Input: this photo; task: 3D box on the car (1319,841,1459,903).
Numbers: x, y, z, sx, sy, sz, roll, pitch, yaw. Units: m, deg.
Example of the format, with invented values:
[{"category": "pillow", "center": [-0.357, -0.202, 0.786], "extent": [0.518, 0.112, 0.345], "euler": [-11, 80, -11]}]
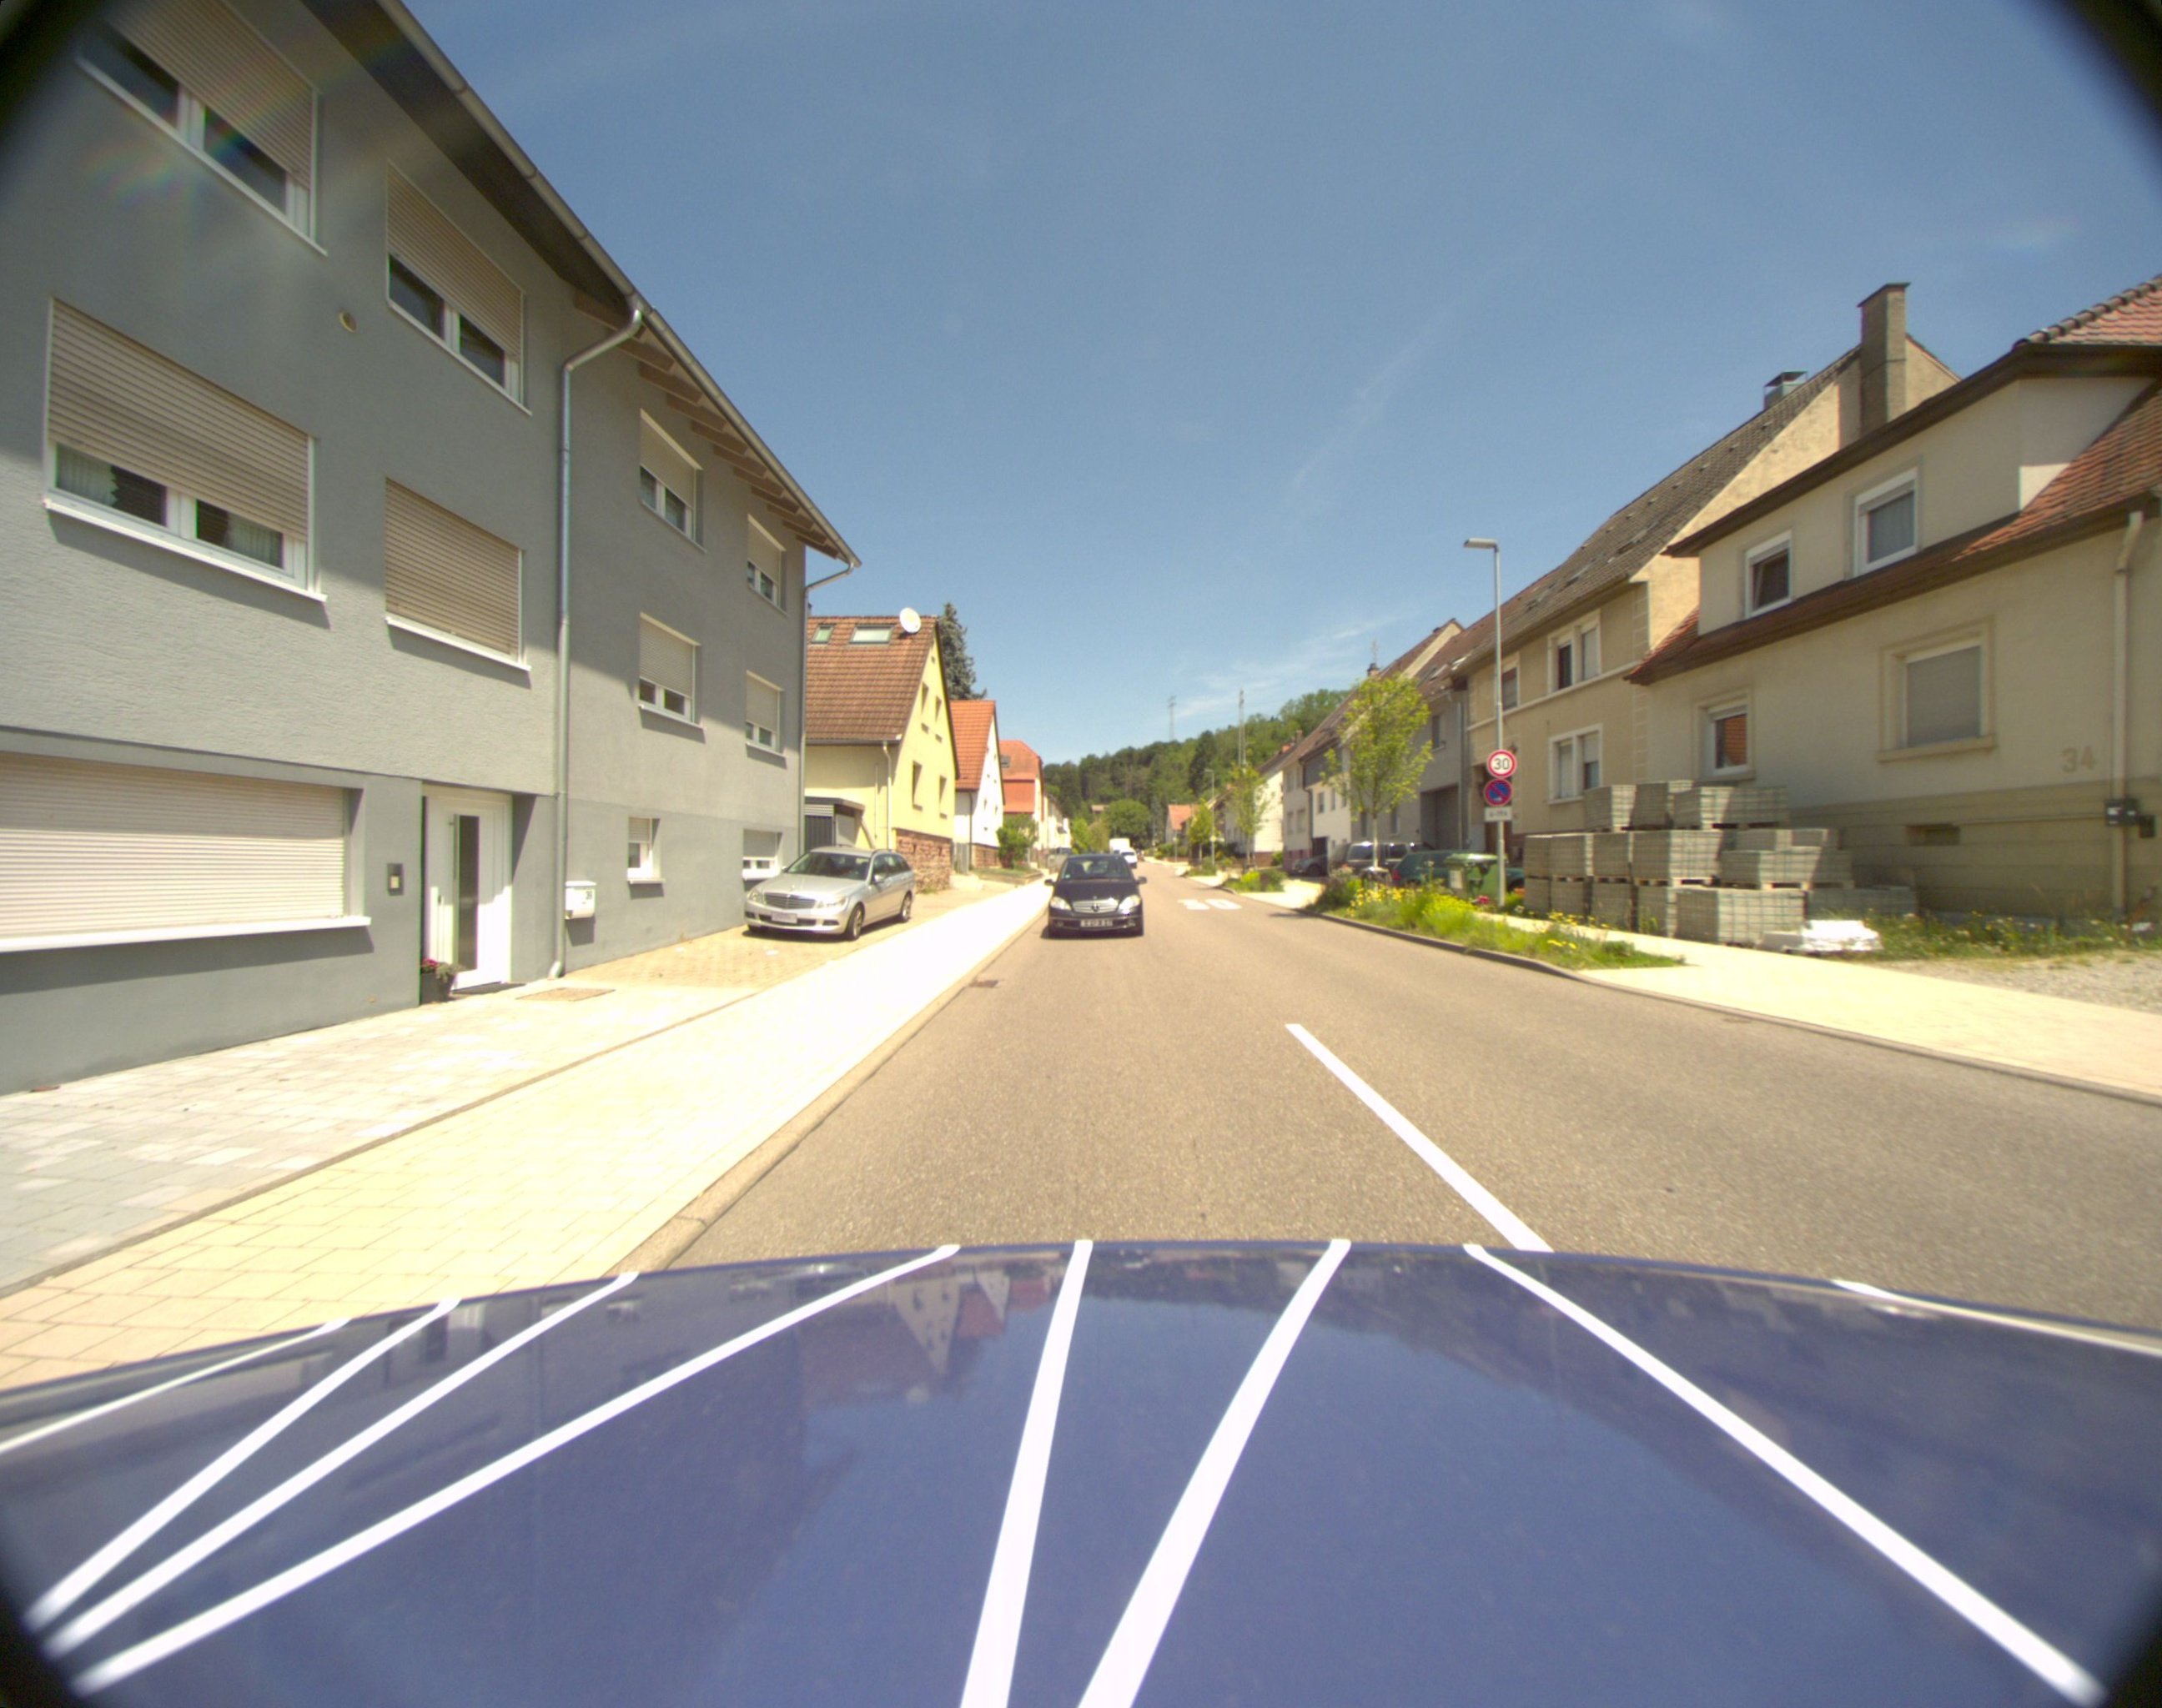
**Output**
[{"category": "car", "center": [9.564, 0.536, 23.798], "extent": [3.605, 1.780, 1.848], "euler": [-2, 1, 1]}]

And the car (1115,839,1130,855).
[{"category": "car", "center": [5.628, -0.960, 103.013], "extent": [1.986, 2.170, 4.000], "euler": [-2, 1, 2]}]

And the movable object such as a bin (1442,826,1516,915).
[{"category": "movable object such as a bin", "center": [9.346, 0.368, 17.902], "extent": [1.061, 2.002, 1.323], "euler": [-2, 1, 2]}]

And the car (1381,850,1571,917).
[{"category": "car", "center": [10.096, 0.713, 19.569], "extent": [4.040, 1.491, 1.707], "euler": [-1, 1, 40]}]

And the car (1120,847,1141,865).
[{"category": "car", "center": [5.146, 0.208, 79.734], "extent": [1.998, 1.716, 4.000], "euler": [-2, 0, 1]}]

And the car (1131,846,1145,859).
[{"category": "car", "center": [9.681, -0.317, 128.710], "extent": [2.371, 1.989, 5.173], "euler": [-2, 1, 5]}]

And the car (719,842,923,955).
[{"category": "car", "center": [-4.407, 0.636, 13.734], "extent": [1.867, 1.612, 4.508], "euler": [3, 1, 3]}]

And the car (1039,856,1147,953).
[{"category": "car", "center": [0.335, 0.871, 15.167], "extent": [1.766, 1.571, 4.932], "euler": [-2, 0, 3]}]

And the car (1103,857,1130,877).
[{"category": "car", "center": [2.884, 1.039, 62.094], "extent": [1.998, 1.477, 4.222], "euler": [-2, 0, 1]}]
